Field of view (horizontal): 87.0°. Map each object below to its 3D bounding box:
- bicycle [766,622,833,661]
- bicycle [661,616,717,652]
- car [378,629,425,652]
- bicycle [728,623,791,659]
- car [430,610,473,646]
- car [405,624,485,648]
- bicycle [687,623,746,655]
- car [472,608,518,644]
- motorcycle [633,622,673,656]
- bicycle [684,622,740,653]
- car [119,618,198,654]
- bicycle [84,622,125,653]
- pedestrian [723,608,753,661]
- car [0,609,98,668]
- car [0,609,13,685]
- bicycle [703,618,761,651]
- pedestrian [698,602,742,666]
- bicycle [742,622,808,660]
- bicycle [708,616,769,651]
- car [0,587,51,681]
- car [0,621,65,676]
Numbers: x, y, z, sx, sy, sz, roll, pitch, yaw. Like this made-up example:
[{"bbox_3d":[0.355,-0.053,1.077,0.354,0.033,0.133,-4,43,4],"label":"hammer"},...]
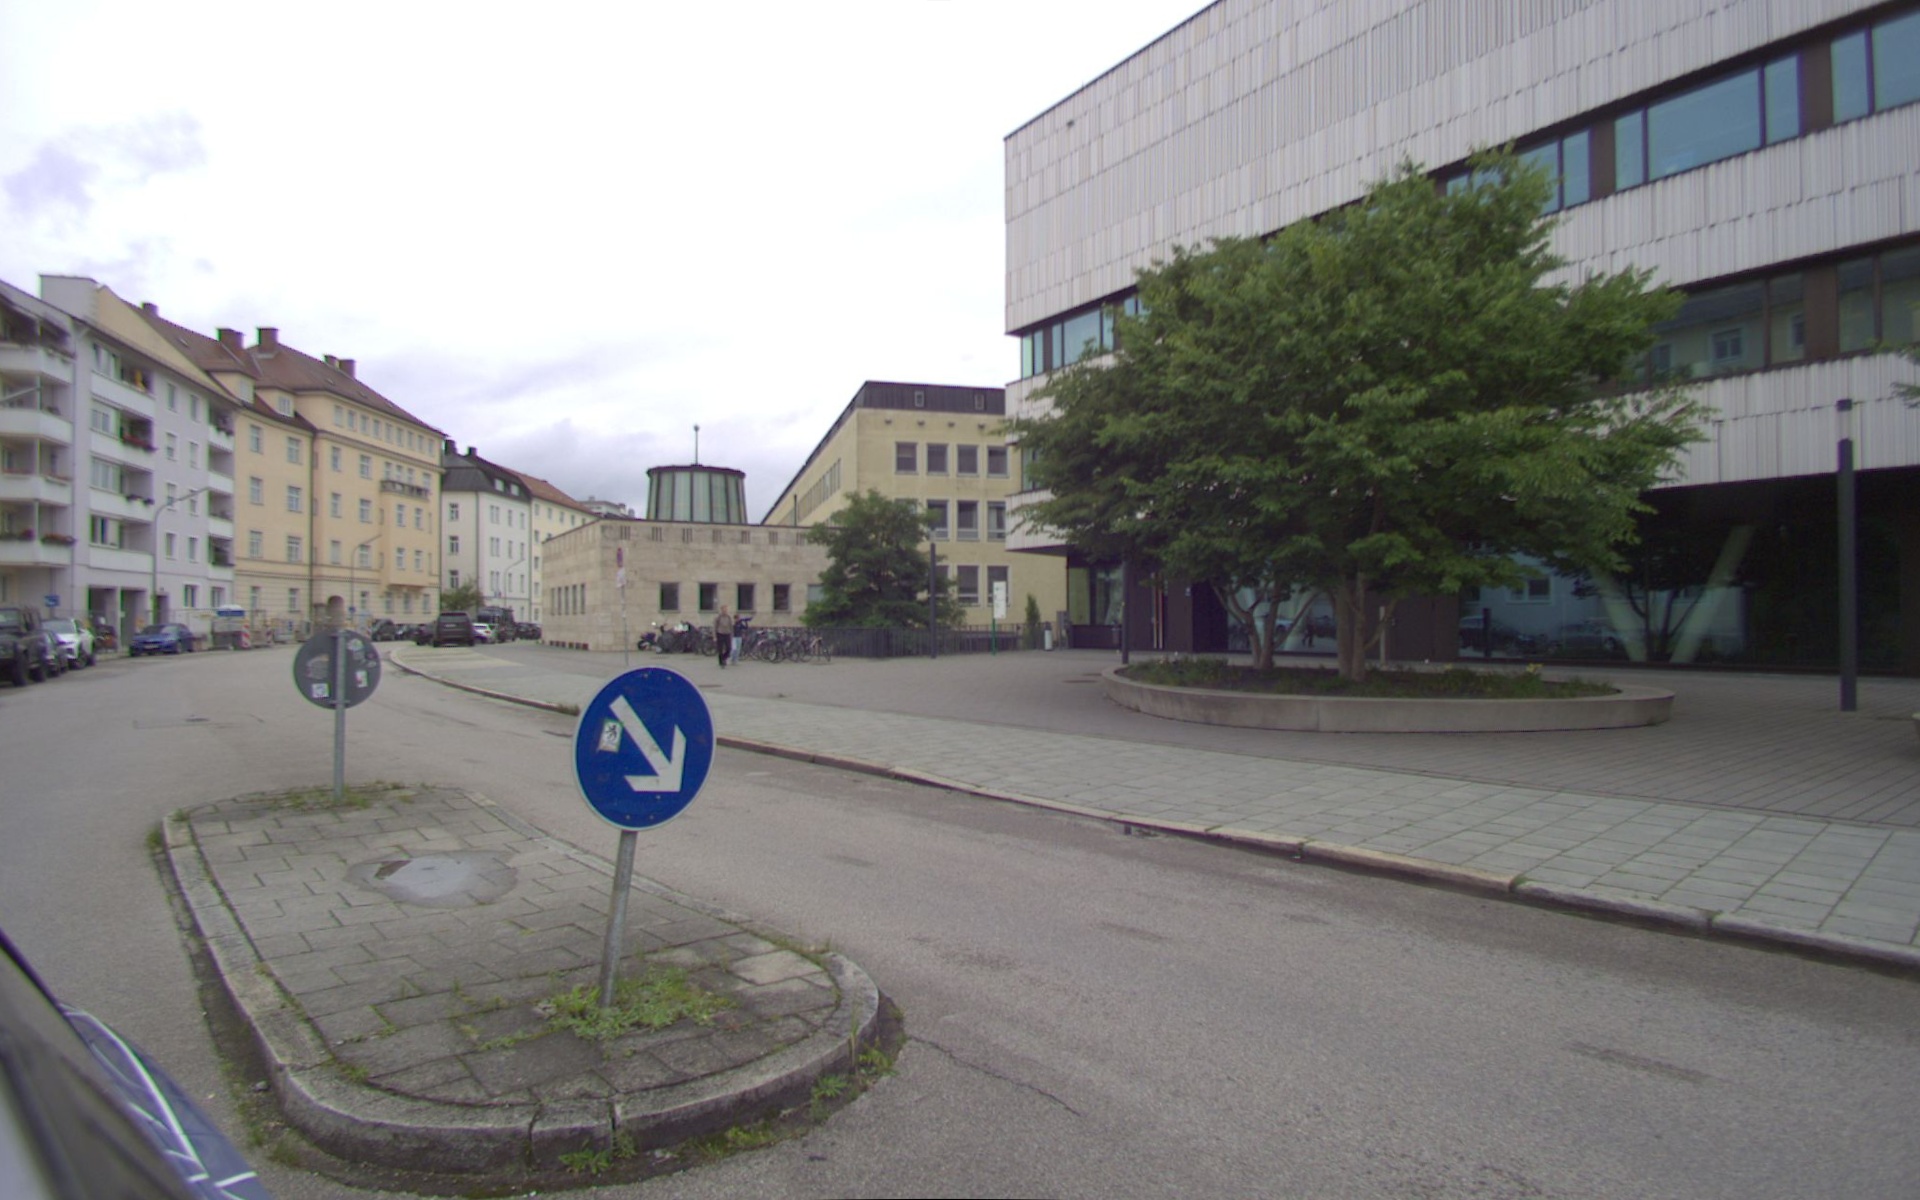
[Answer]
[{"bbox_3d":[-5.066,1.286,31.957,2.019,1.119,0.618,-2,-1,-39],"label":"bicycle"},{"bbox_3d":[-10.969,1.356,41.028,2.070,1.362,0.615,-2,-1,-36],"label":"bicycle"},{"bbox_3d":[-45.534,3.278,82.642,1.816,1.743,3.731,-2,-1,-1],"label":"car"},{"bbox_3d":[-6.801,1.373,34.454,2.019,1.119,0.618,-2,-1,-39],"label":"bicycle"},{"bbox_3d":[-27.057,1.494,53.795,1.965,1.785,4.830,0,-2,-27],"label":"car"},{"bbox_3d":[-31.448,2.210,61.834,1.746,1.383,3.958,1,-2,36],"label":"car"},{"bbox_3d":[-9.180,1.453,38.172,2.017,1.119,0.618,-2,-1,-32],"label":"bicycle"},{"bbox_3d":[-35.284,1.964,76.984,2.114,2.594,6.228,1,-2,-15],"label":"car"},{"bbox_3d":[-13.521,1.726,44.607,1.543,1.416,0.516,-2,-1,-34],"label":"motorcycle"},{"bbox_3d":[-9.751,1.471,39.794,2.019,1.119,0.618,-2,-1,-37],"label":"bicycle"},{"bbox_3d":[-36.000,1.611,45.584,1.805,1.453,4.643,-3,0,-26],"label":"car"},{"bbox_3d":[-38.904,1.706,46.048,0.798,1.333,2.784,2,-2,-28],"label":"bicycle"},{"bbox_3d":[-6.829,1.064,31.168,0.604,1.613,0.638,-3,-1,29],"label":"pedestrian"},{"bbox_3d":[-28.927,1.205,32.095,1.999,1.690,4.624,-2,-1,-35],"label":"car"},{"bbox_3d":[-20.256,0.995,20.026,1.636,1.577,4.525,-2,0,-36],"label":"car"},{"bbox_3d":[-8.376,1.275,37.212,2.021,1.119,0.617,-2,-1,-43],"label":"bicycle"},{"bbox_3d":[-6.930,0.975,29.214,1.015,1.796,0.778,-1,0,44],"label":"pedestrian"},{"bbox_3d":[-6.052,1.330,33.176,2.019,1.119,0.618,-2,-1,-39],"label":"bicycle"},{"bbox_3d":[-7.743,1.157,35.427,2.021,1.119,0.617,-2,-1,-43],"label":"bicycle"},{"bbox_3d":[-23.135,0.851,24.036,1.724,2.097,4.526,-2,-1,-35],"label":"car"},{"bbox_3d":[-25.957,1.306,27.941,1.637,1.359,3.812,-2,1,-38],"label":"car"}]
